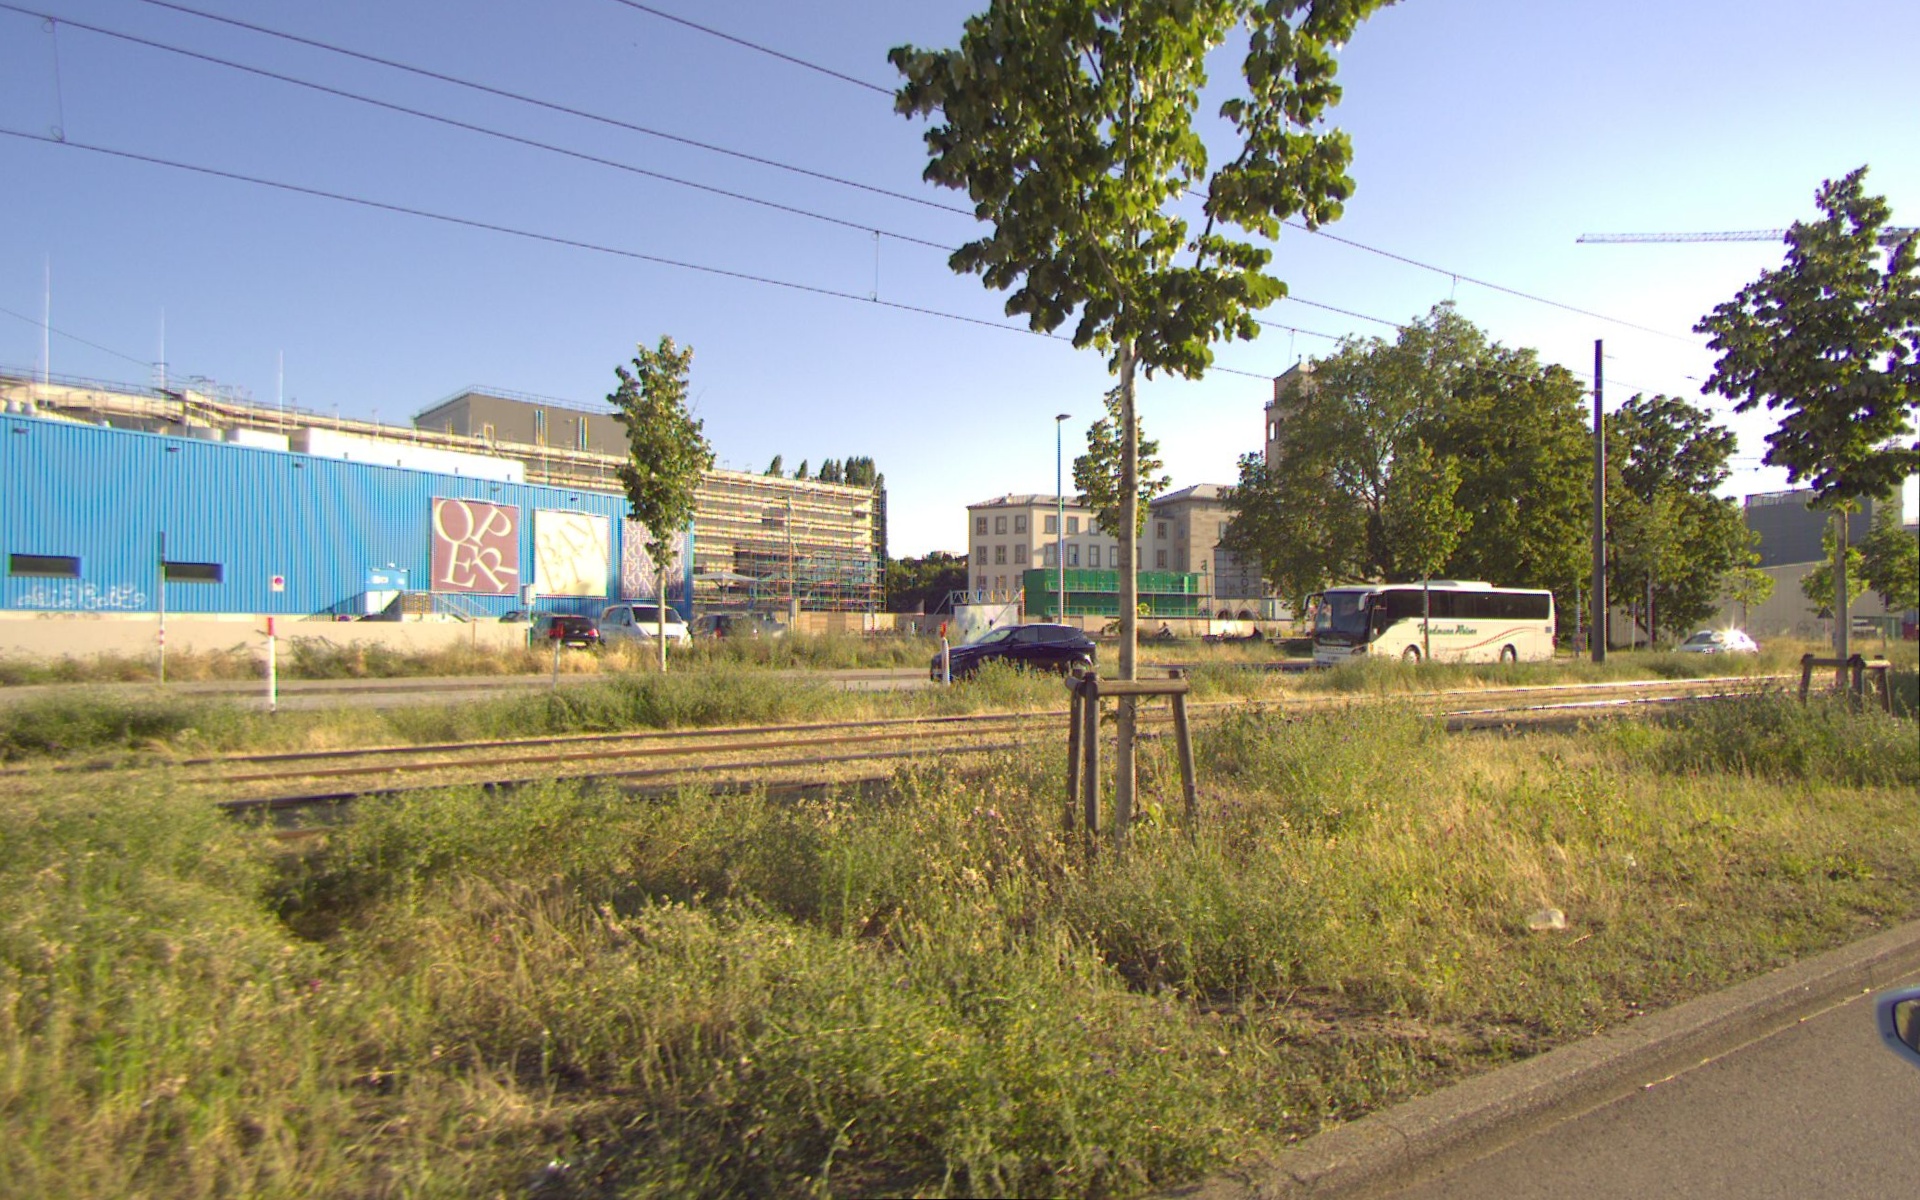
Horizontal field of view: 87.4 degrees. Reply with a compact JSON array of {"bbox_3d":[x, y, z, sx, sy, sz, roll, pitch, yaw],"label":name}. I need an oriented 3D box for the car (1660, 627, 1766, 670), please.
[{"bbox_3d":[30.755,1.946,41.008,4.116,1.664,1.985,1,-1,-29],"label":"car"}]

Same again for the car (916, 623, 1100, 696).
[{"bbox_3d":[1.215,1.428,25.143,4.220,1.673,1.984,1,-1,-30],"label":"car"}]

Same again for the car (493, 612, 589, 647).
[{"bbox_3d":[-20.290,1.417,48.811,1.389,1.657,4.210,0,-1,36],"label":"car"}]

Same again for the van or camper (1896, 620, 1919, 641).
[{"bbox_3d":[110.764,3.492,114.475,2.125,2.446,5.645,1,-1,-24],"label":"van or camper"}]

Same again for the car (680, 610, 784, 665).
[{"bbox_3d":[-7.924,1.248,34.513,2.099,1.739,5.203,1,-1,-29],"label":"car"}]

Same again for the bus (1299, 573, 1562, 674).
[{"bbox_3d":[19.134,0.956,40.386,12.542,3.642,2.787,1,-1,-29],"label":"bus"}]

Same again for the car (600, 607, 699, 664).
[{"bbox_3d":[-10.358,1.147,33.245,2.099,1.739,5.203,1,-1,-29],"label":"car"}]

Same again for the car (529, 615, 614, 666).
[{"bbox_3d":[-12.354,1.232,31.786,1.976,1.505,3.969,1,-1,-29],"label":"car"}]
